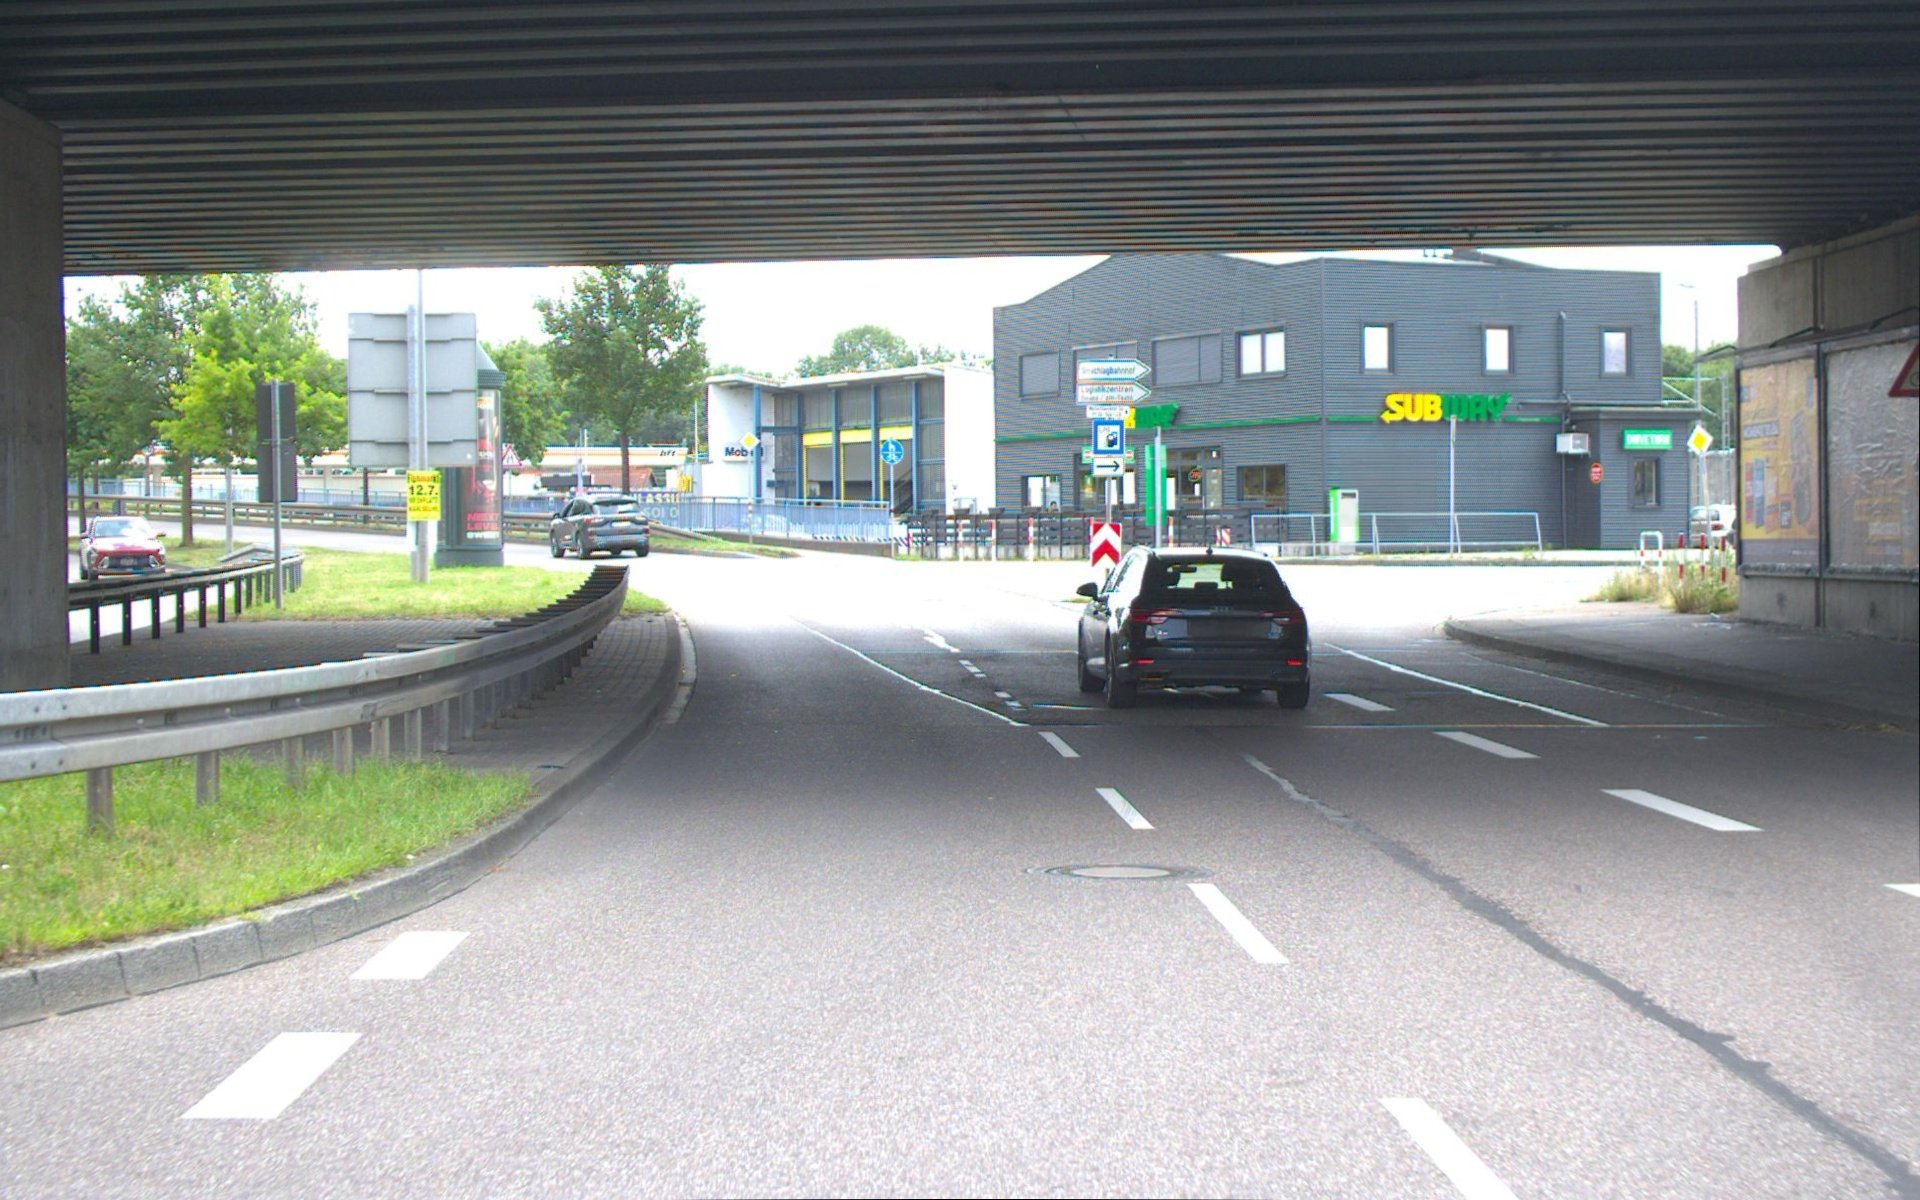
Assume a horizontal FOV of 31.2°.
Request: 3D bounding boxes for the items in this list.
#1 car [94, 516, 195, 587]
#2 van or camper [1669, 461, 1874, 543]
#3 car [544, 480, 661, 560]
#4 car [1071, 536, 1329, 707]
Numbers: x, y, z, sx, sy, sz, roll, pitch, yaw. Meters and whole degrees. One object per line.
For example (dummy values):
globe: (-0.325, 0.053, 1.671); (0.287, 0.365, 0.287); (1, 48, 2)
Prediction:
car: (-20.108, -1.208, 84.875); (1.993, 1.669, 4.324); (-1, 1, -8)
van or camper: (22.844, -2.730, 96.683); (6.229, 2.165, 2.126); (0, 1, -37)
car: (-9.475, -2.087, 90.886); (1.993, 2.030, 4.714); (-1, 1, -20)
car: (2.136, 0.143, 31.875); (1.993, 1.385, 4.576); (1, 2, -1)
